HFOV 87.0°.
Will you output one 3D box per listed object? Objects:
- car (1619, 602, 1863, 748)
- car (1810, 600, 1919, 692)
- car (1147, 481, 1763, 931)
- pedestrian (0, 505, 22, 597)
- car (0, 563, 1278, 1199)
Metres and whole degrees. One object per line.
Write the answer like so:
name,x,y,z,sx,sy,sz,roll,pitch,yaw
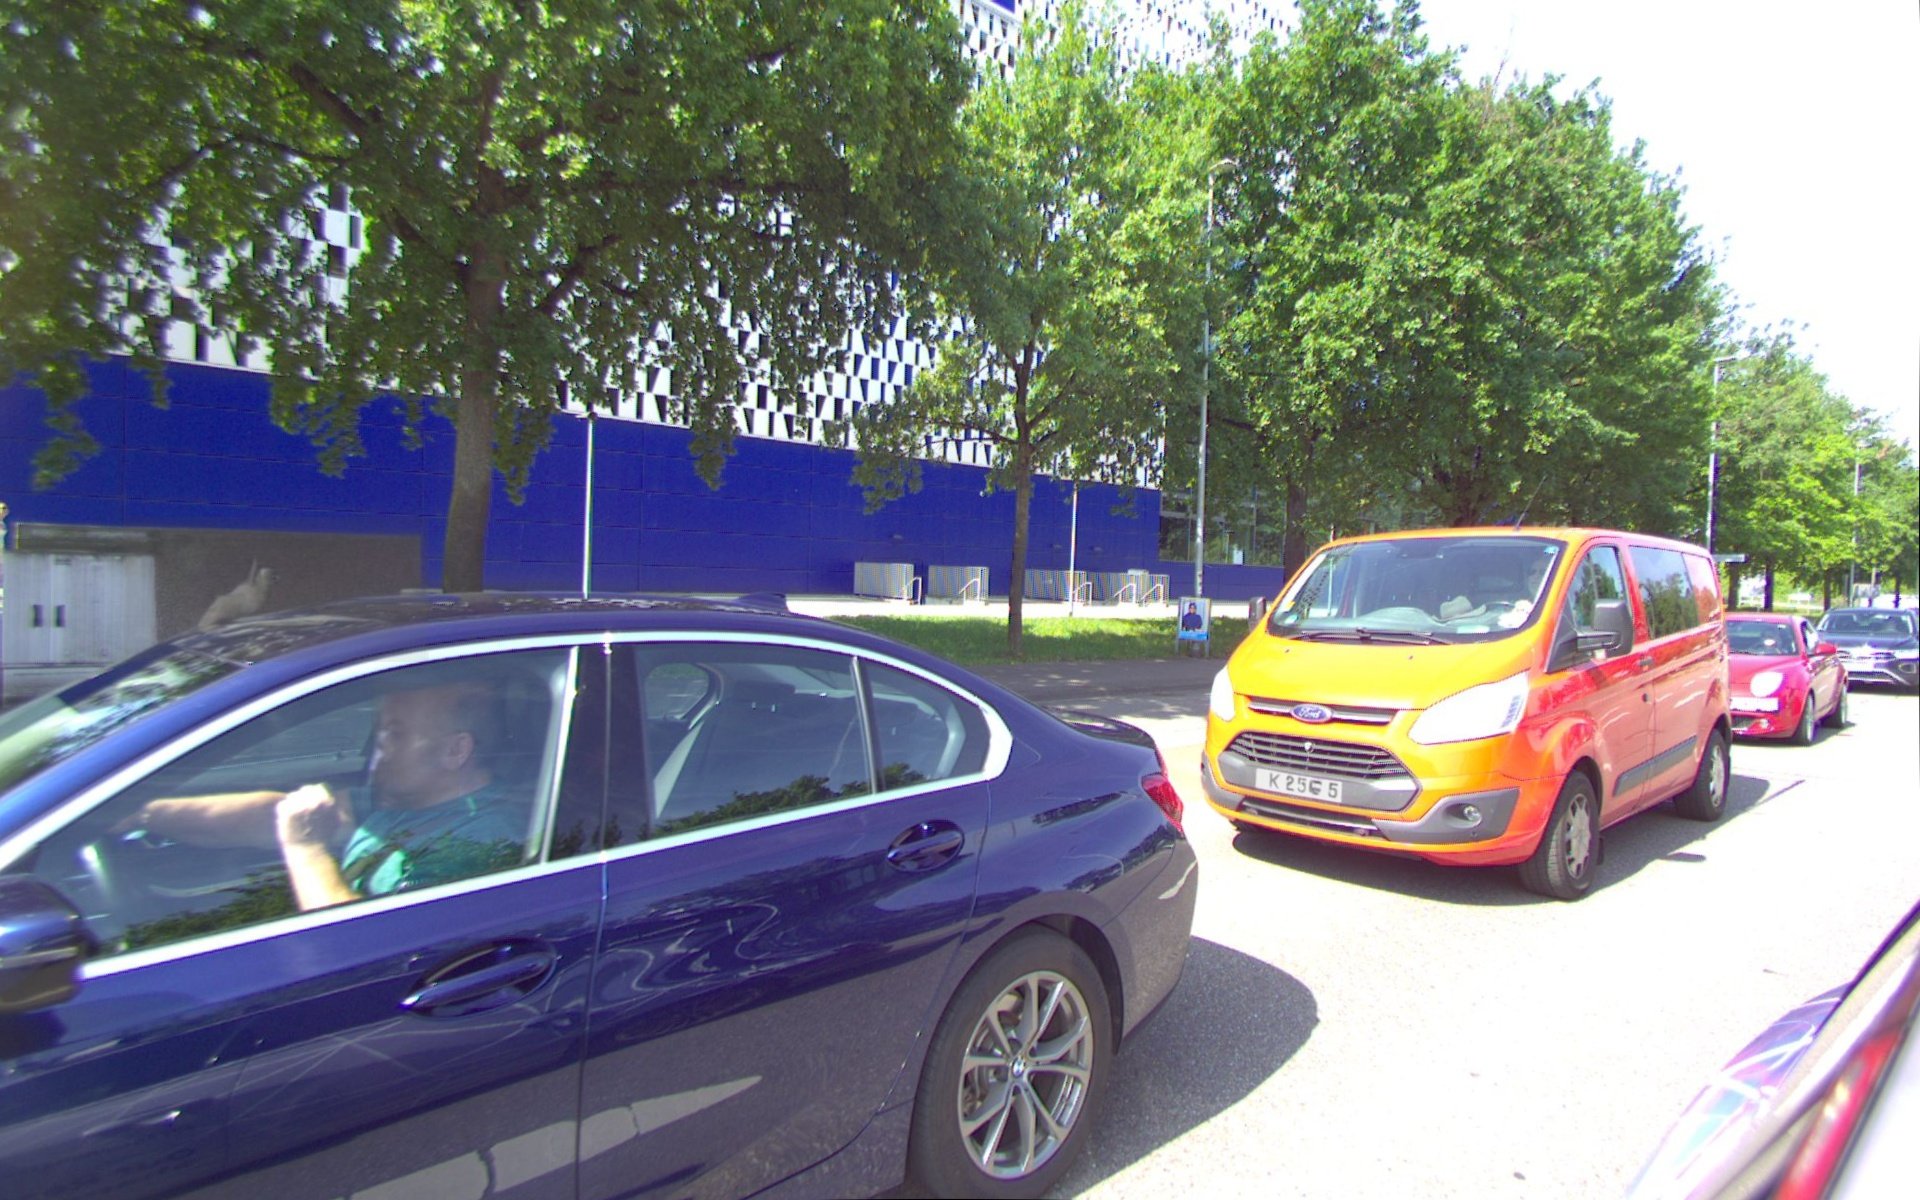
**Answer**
car,9.492,0.767,12.193,3.849,1.440,1.690,0,1,-43
car,17.388,0.793,19.023,3.932,1.559,1.647,0,-1,-42
car,3.514,0.453,6.678,4.726,1.931,2.012,1,0,-42
pedestrian,-16.852,-0.862,17.587,0.767,1.565,0.680,1,2,-41
car,-1.311,0.661,2.230,4.459,1.447,1.798,0,1,-42
